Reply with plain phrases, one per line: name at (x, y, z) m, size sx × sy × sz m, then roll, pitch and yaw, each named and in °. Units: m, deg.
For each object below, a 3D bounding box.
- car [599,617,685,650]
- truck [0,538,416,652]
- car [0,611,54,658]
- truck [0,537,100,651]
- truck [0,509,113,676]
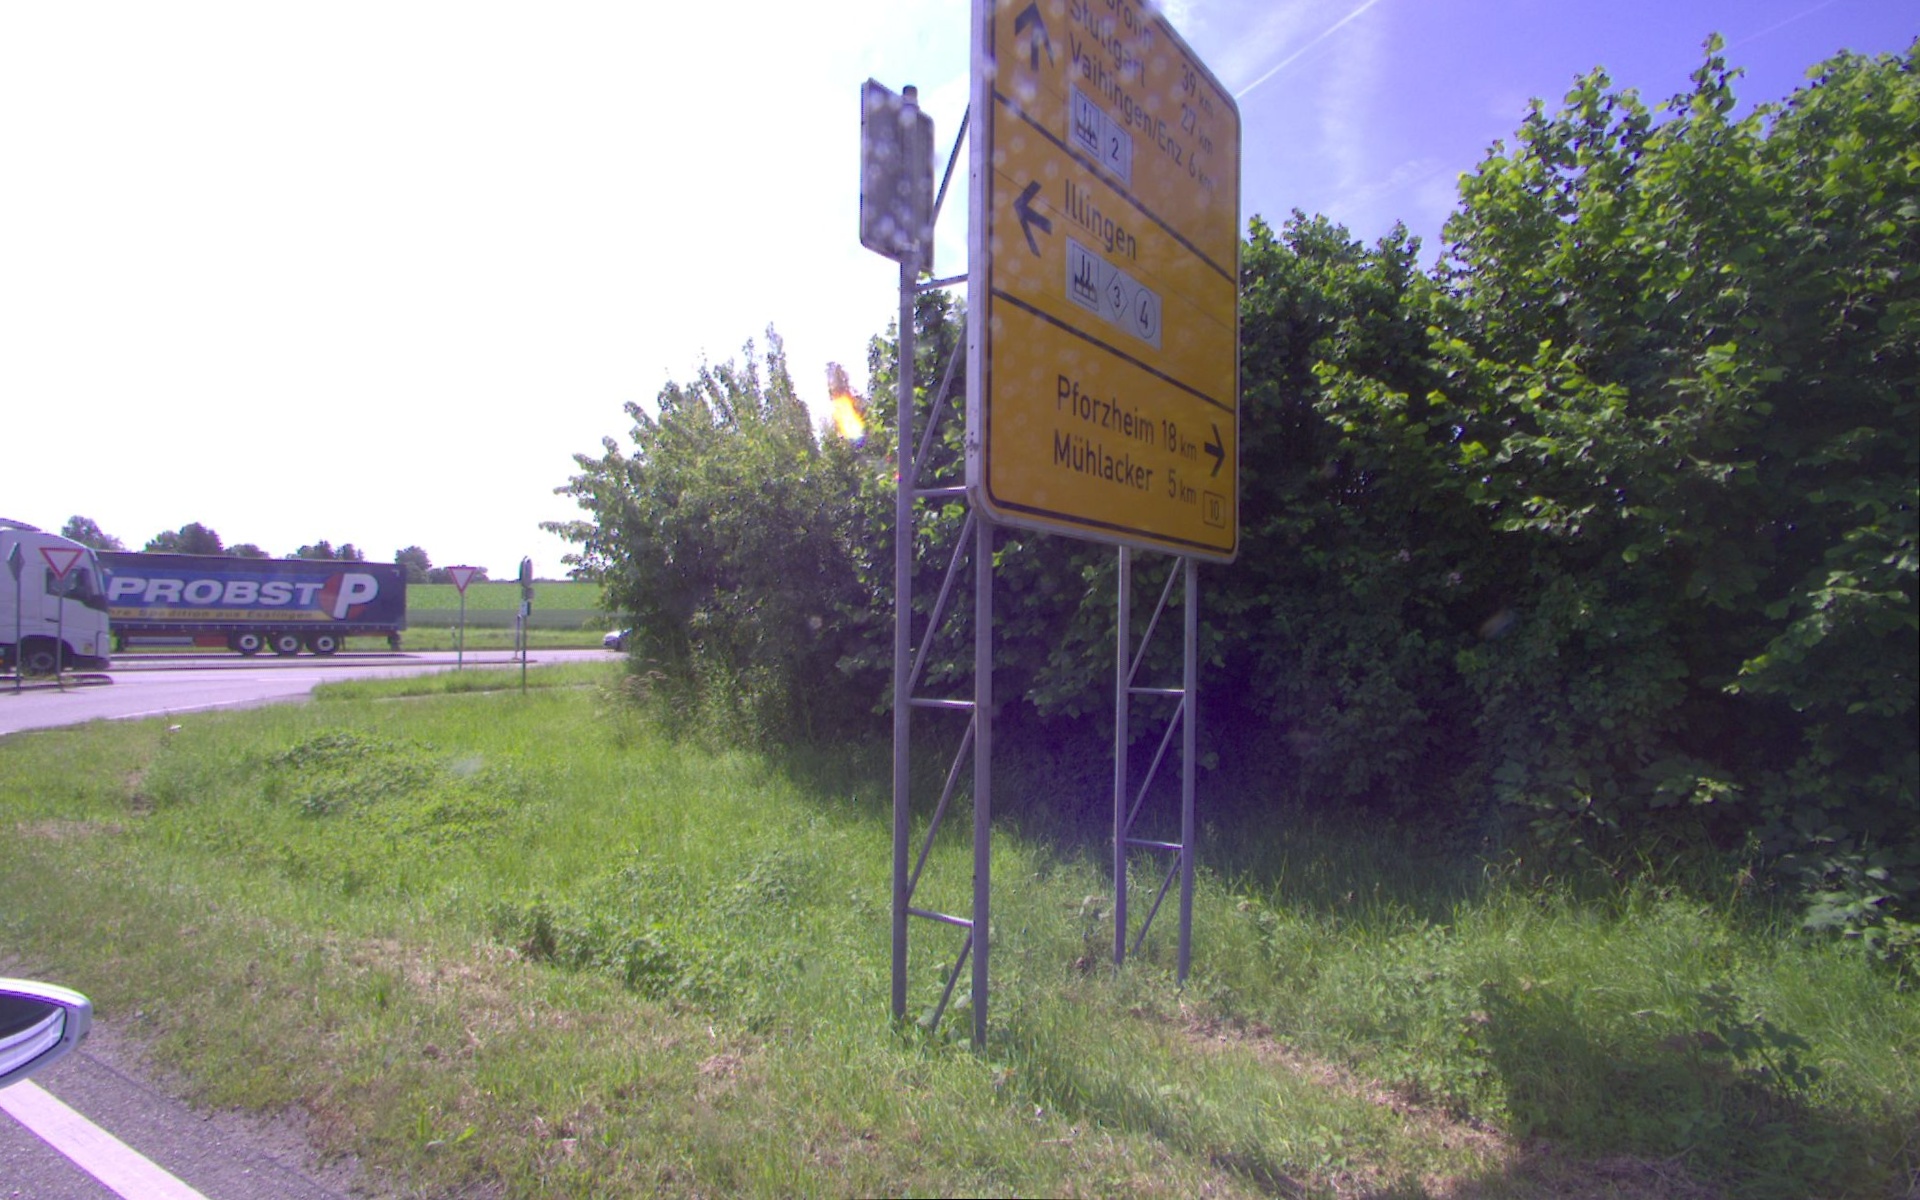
car at (-16.440, 1.768, 51.783) m, size 3.946 × 1.616 × 1.656 m, roll 2°, pitch -3°, yaw -32°
truck at (-30.219, 0.005, 40.483) m, size 14.165 × 4.031 × 3.003 m, roll 2°, pitch -1°, yaw -39°
car at (-31.761, 1.109, 32.063) m, size 1.522 × 1.510 × 3.973 m, roll -2°, pitch -3°, yaw 44°
truck at (-35.641, -0.232, 36.108) m, size 6.876 × 4.046 × 3.002 m, roll 2°, pitch -1°, yaw -39°
truck at (-25.172, -0.203, 25.003) m, size 2.766 × 4.114 × 5.798 m, roll 1°, pitch -1°, yaw 42°
